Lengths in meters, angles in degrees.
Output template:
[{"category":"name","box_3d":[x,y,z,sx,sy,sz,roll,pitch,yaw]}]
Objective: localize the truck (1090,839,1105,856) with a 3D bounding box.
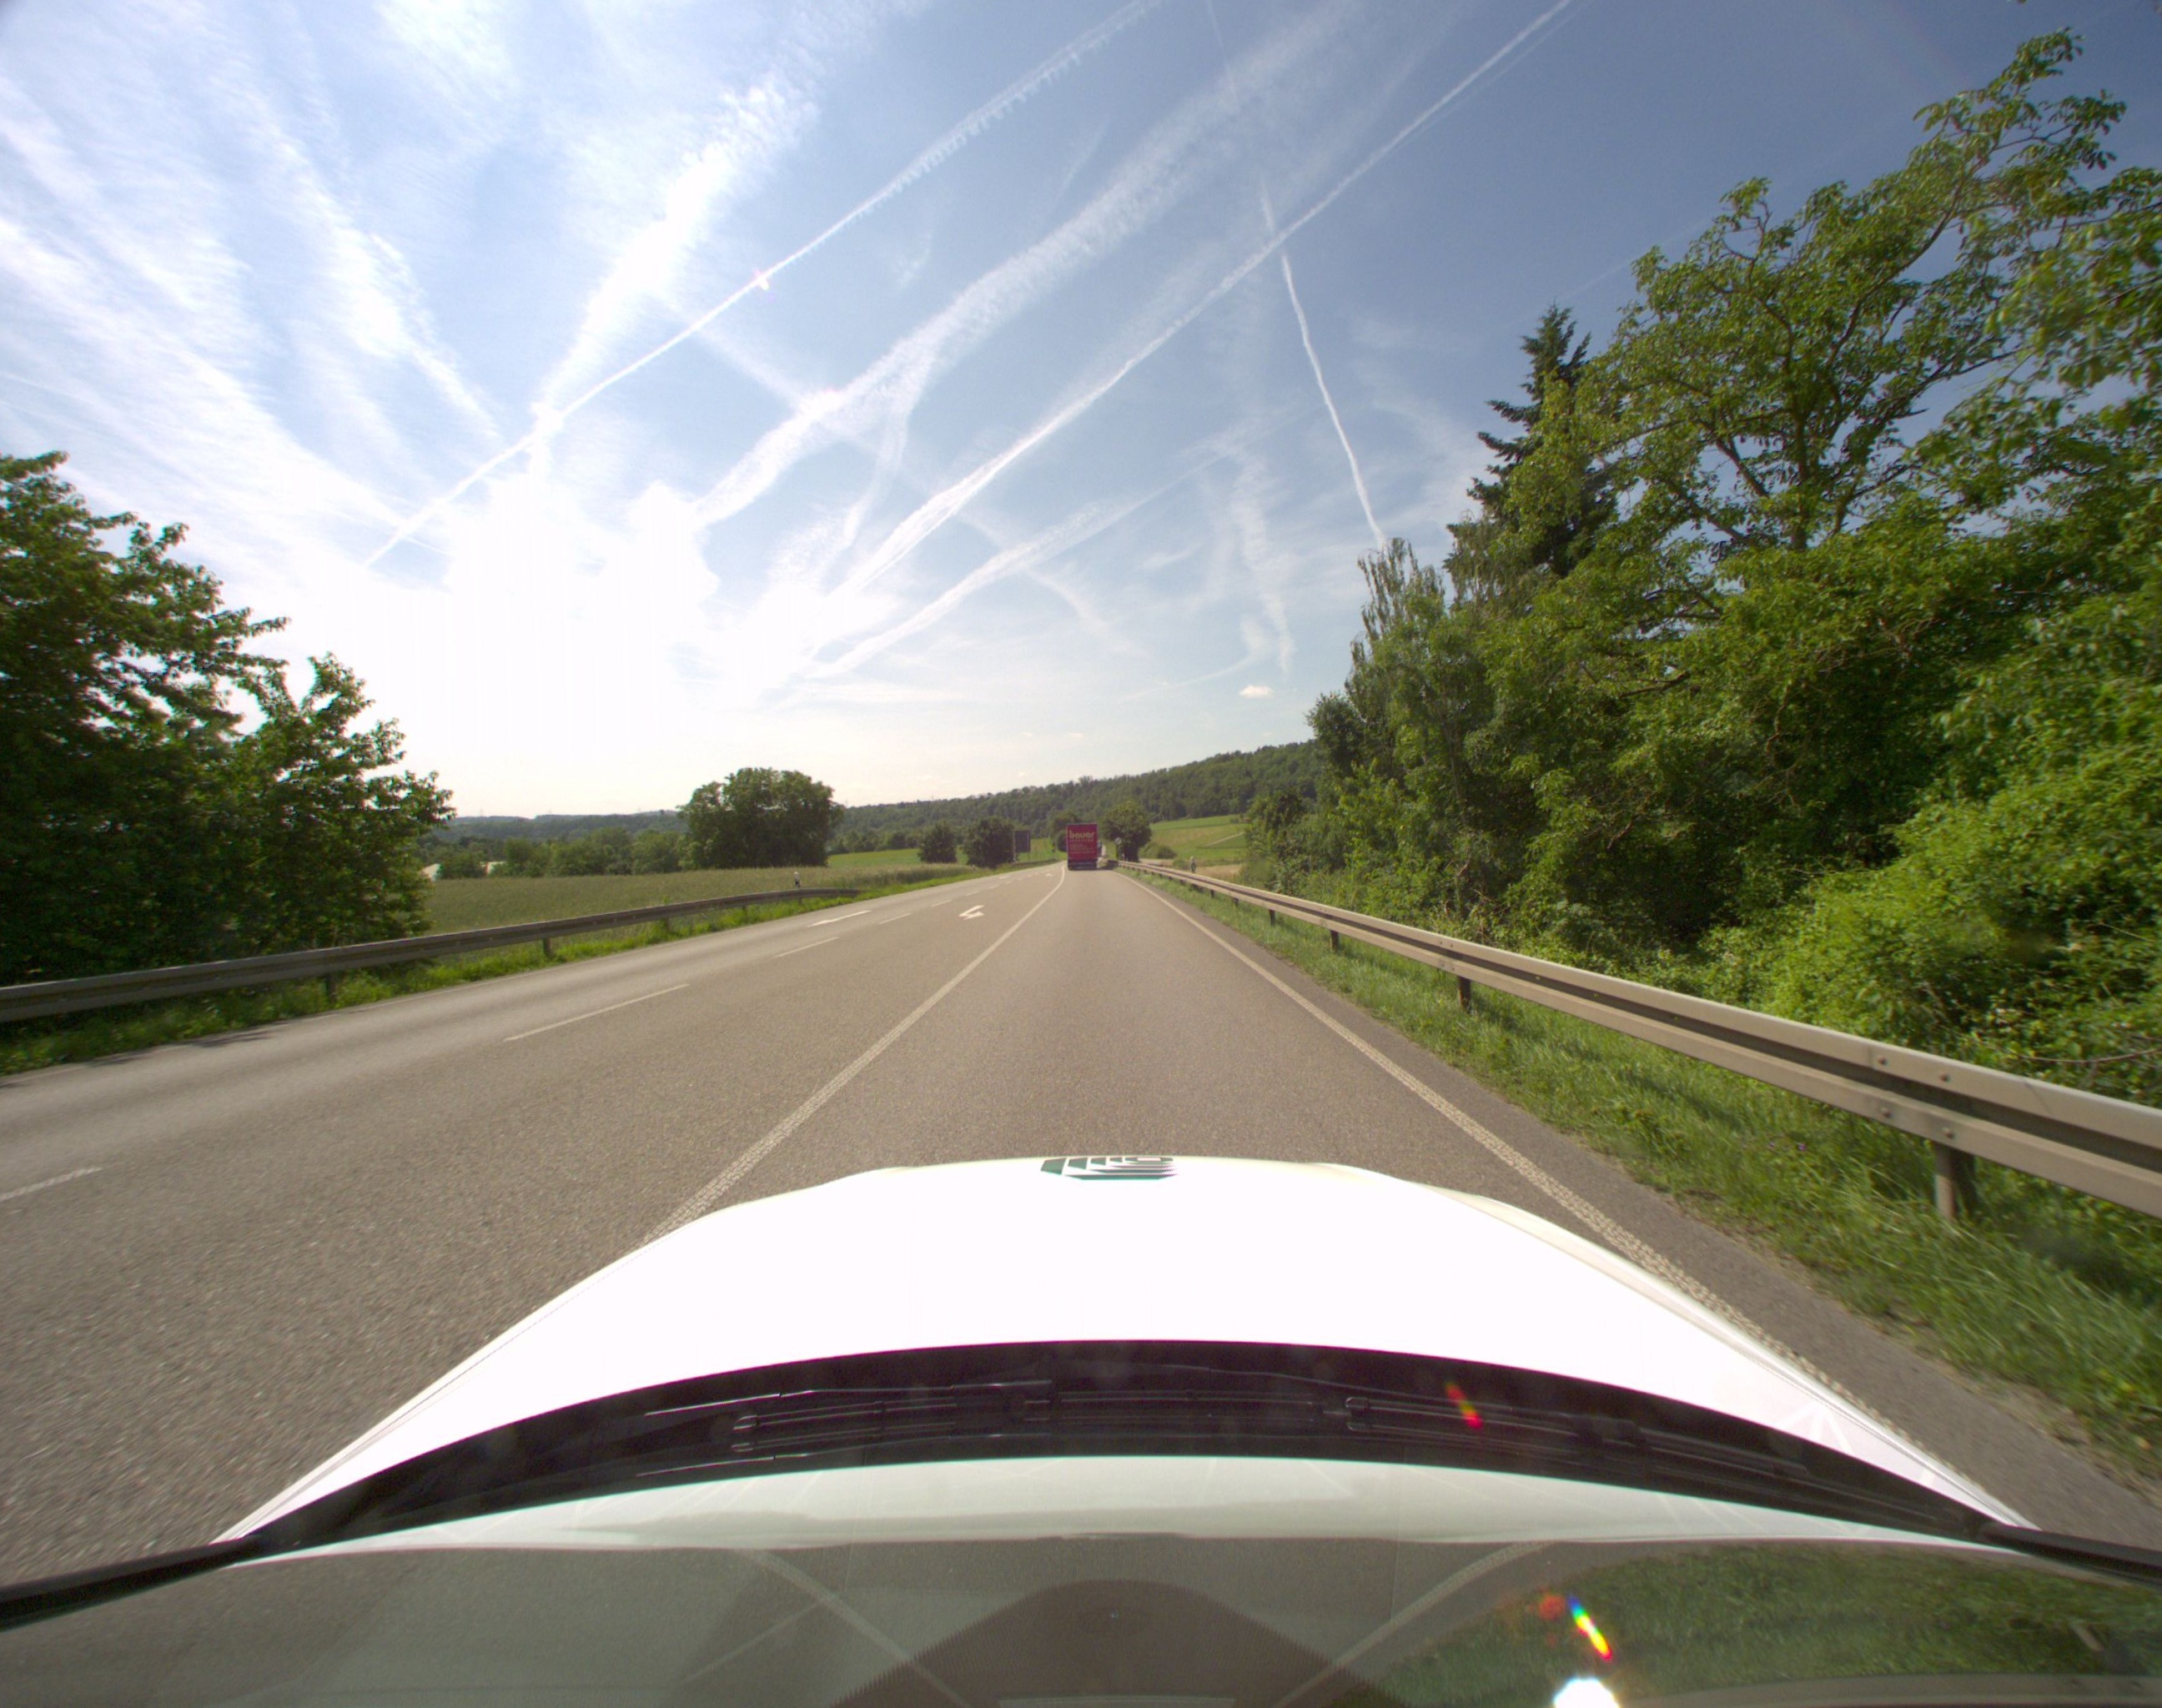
[{"category":"truck","box_3d":[4.461,-1.755,217.432,3.891,4.369,13.294,1,0,1]}]

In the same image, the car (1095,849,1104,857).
[{"category":"car","box_3d":[4.256,-0.192,186.597,1.987,1.810,4.000,1,0,0]}]

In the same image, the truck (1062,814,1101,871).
[{"category":"truck","box_3d":[0.039,-1.009,74.713,3.162,4.625,13.542,-2,0,0]}]

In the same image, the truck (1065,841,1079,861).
[{"category":"truck","box_3d":[-1.885,-0.554,173.728,2.521,4.119,6.023,-3,0,2]}]
